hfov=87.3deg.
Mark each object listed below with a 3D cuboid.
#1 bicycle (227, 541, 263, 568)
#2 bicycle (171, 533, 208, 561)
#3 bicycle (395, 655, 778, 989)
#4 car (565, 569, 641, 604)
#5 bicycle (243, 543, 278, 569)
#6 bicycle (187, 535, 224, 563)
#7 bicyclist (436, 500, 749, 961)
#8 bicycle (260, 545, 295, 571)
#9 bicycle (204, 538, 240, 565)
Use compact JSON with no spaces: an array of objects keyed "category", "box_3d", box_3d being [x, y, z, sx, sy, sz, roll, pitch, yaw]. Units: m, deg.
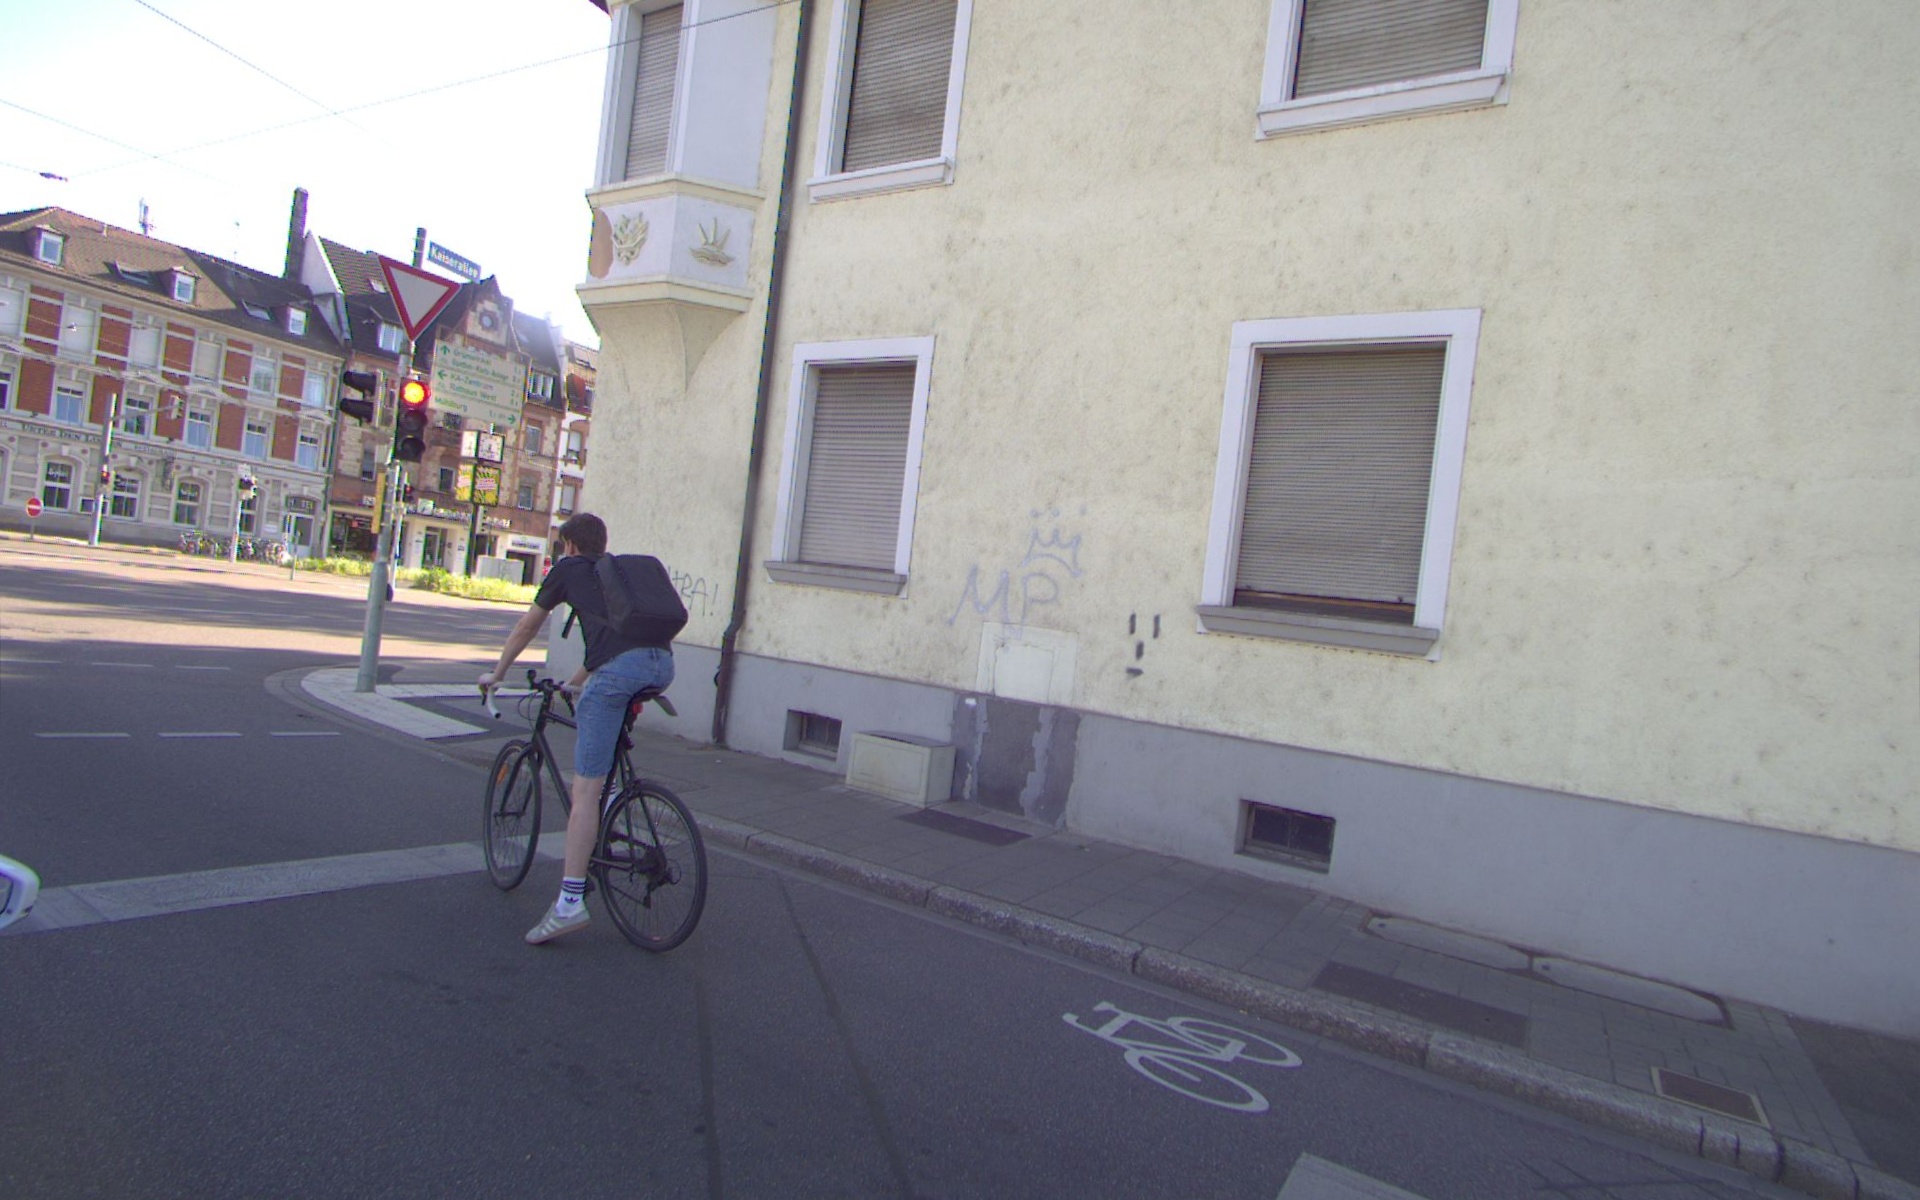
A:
[{"category":"bicycle","box_3d":[-33.649,-2.155,47.338,1.614,1.064,0.606,7,0,27]},{"category":"bicycle","box_3d":[-34.945,-2.395,45.609,1.614,1.064,0.606,7,0,27]},{"category":"bicycle","box_3d":[-1.684,0.871,4.418,1.729,1.029,0.532,7,0,32]},{"category":"car","box_3d":[-23.122,-0.868,65.305,1.966,1.674,4.378,7,-1,29]},{"category":"bicycle","box_3d":[-33.355,-2.092,47.948,1.614,1.064,0.606,7,0,27]},{"category":"bicycle","box_3d":[-34.645,-2.332,46.192,1.614,1.064,0.606,7,0,27]},{"category":"bicyclist","box_3d":[-1.618,0.501,4.411,1.066,1.751,0.560,6,-1,32]},{"category":"bicycle","box_3d":[-32.980,-2.017,48.585,1.614,1.064,0.606,7,0,27]},{"category":"bicycle","box_3d":[-34.315,-2.266,46.767,1.614,1.064,0.606,7,0,27]}]
